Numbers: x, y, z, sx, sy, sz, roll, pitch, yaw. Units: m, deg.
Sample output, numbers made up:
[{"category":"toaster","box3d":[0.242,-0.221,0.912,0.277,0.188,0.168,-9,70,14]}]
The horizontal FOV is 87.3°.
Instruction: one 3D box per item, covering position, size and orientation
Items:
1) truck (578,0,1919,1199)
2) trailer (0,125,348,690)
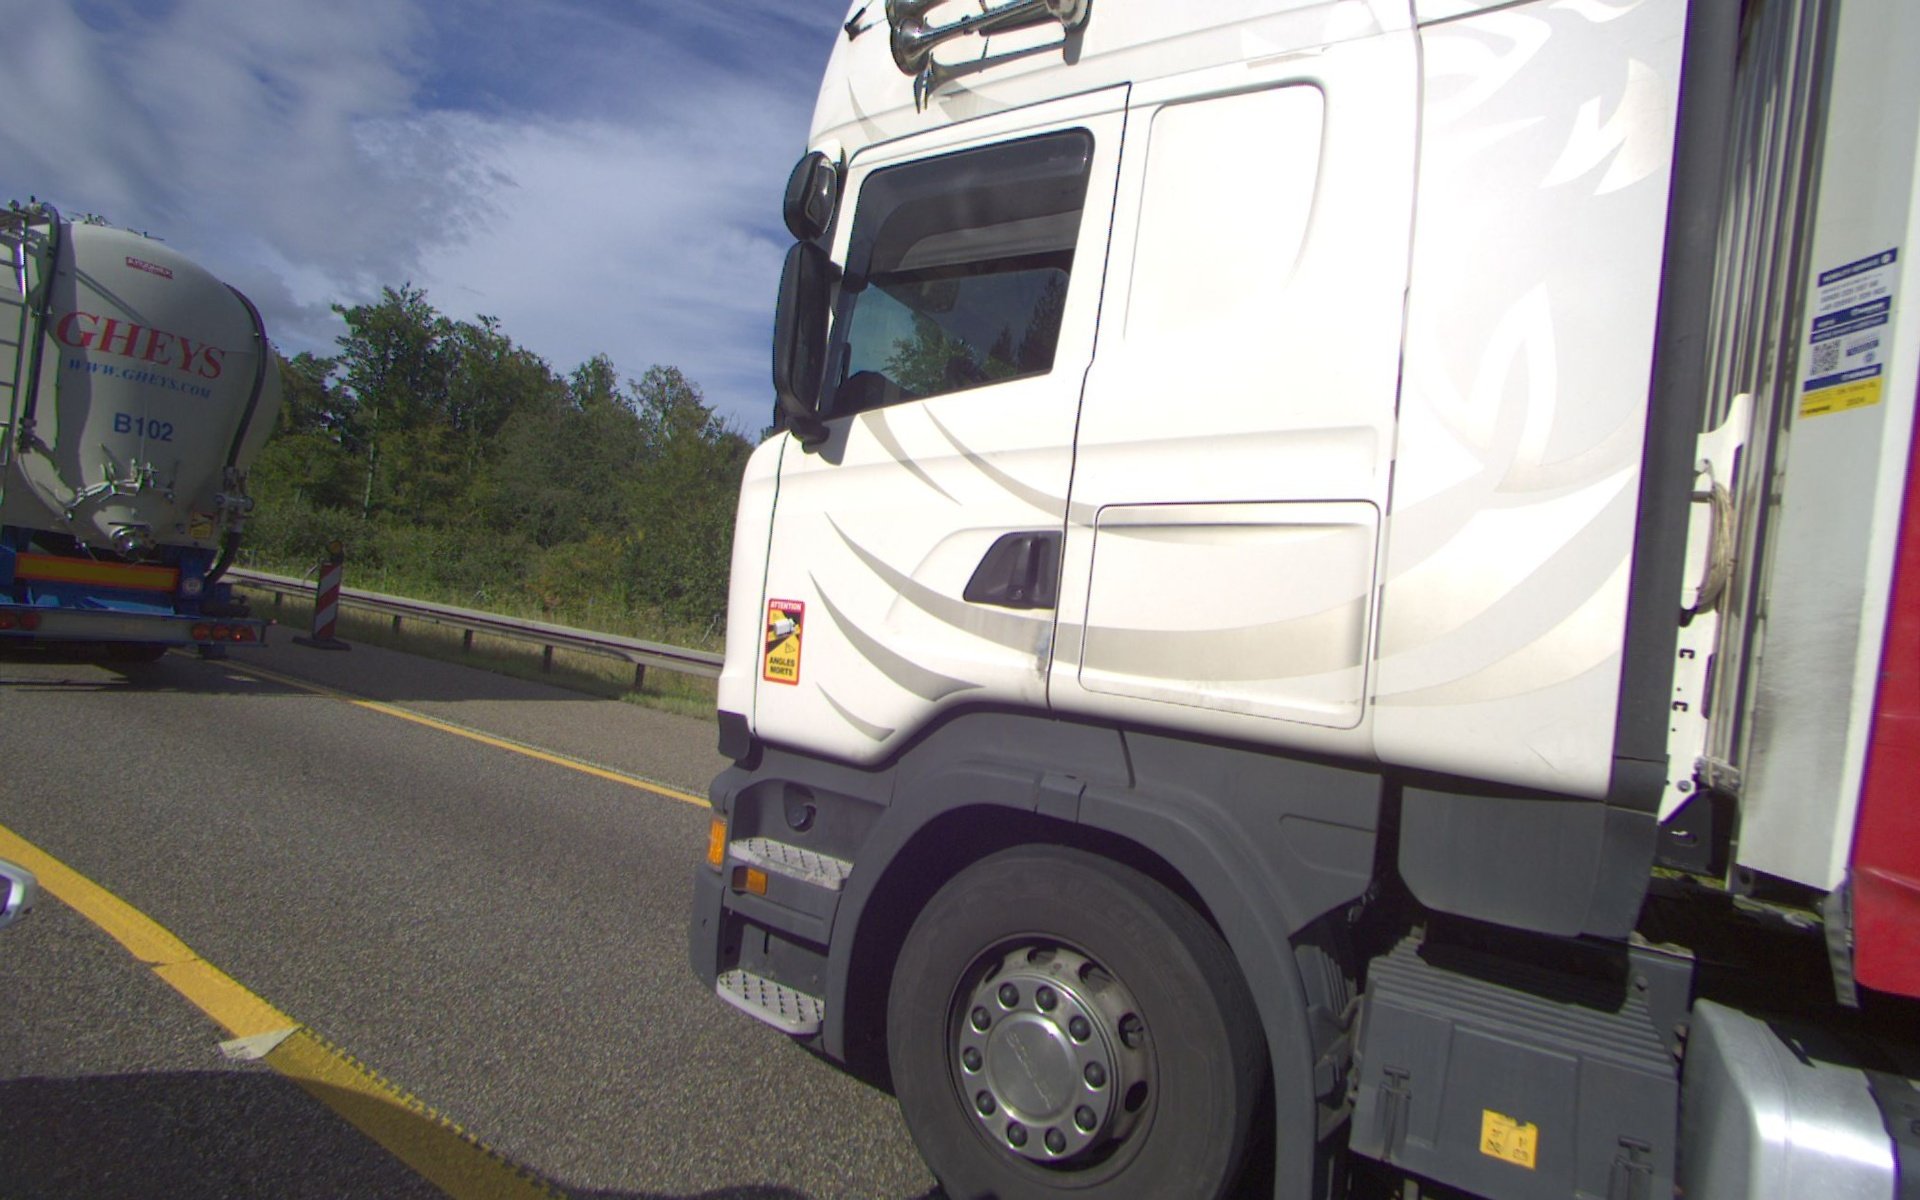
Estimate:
[{"category":"truck","box3d":[2.173,-0.258,2.735,5.614,4.006,2.673,7,-1,31]},{"category":"trailer","box3d":[-11.782,-1.888,11.295,12.387,3.989,2.649,7,-1,31]}]
